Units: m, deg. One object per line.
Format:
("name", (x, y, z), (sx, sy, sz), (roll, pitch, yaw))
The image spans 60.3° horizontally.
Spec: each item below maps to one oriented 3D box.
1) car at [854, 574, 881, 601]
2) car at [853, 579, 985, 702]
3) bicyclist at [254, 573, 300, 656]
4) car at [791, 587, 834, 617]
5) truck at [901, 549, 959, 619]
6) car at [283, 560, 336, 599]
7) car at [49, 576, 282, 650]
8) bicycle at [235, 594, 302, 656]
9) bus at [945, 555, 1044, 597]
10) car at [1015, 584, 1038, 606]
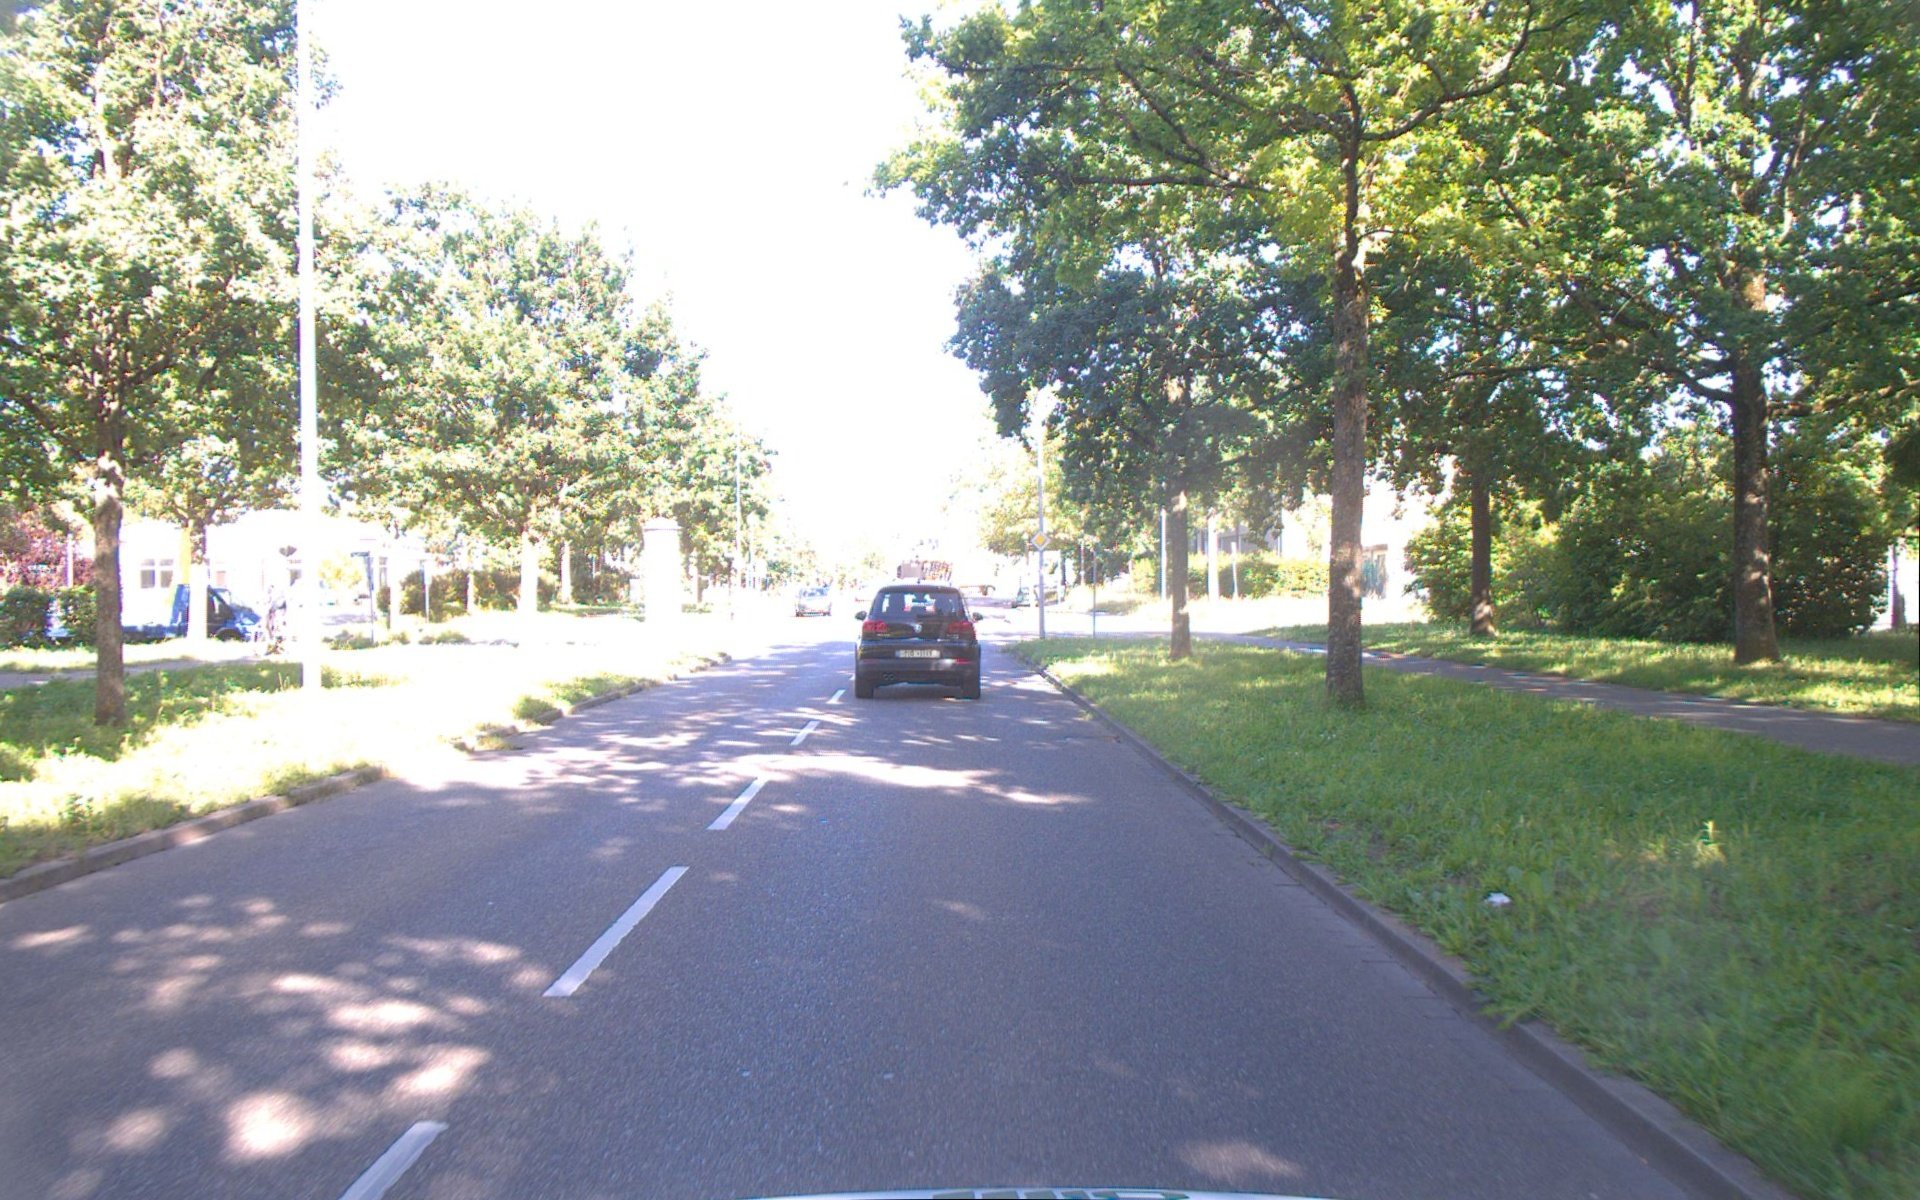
("car", (-7.236, -0.956, 129.392), (1.955, 2.049, 3.996), (1, 1, -6))
("car", (-0.537, 0.535, 24.854), (1.745, 1.662, 4.001), (1, 1, 2))
("bicyclist", (-15.733, 0.324, 38.100), (0.672, 1.863, 0.934), (1, 1, -1))
("car", (-7.709, 0.081, 86.892), (1.953, 1.481, 3.999), (-1, 1, -1))
("truck", (-1.431, -0.831, 82.456), (2.460, 3.300, 8.154), (-1, 1, 2))
("car", (-39.594, -1.253, 100.725), (1.955, 2.275, 3.995), (-1, 1, -6))
("car", (-22.844, 0.363, 47.789), (5.685, 2.049, 1.995), (1, 1, -11))
("bicycle", (-15.746, 0.545, 37.695), (0.702, 1.344, 1.991), (1, 1, -1))
("bus", (3.251, -2.278, 156.351), (8.936, 3.844, 3.380), (1, 1, -10))
("car", (4.461, -0.322, 110.809), (1.422, 1.430, 2.856), (1, 1, 0))
